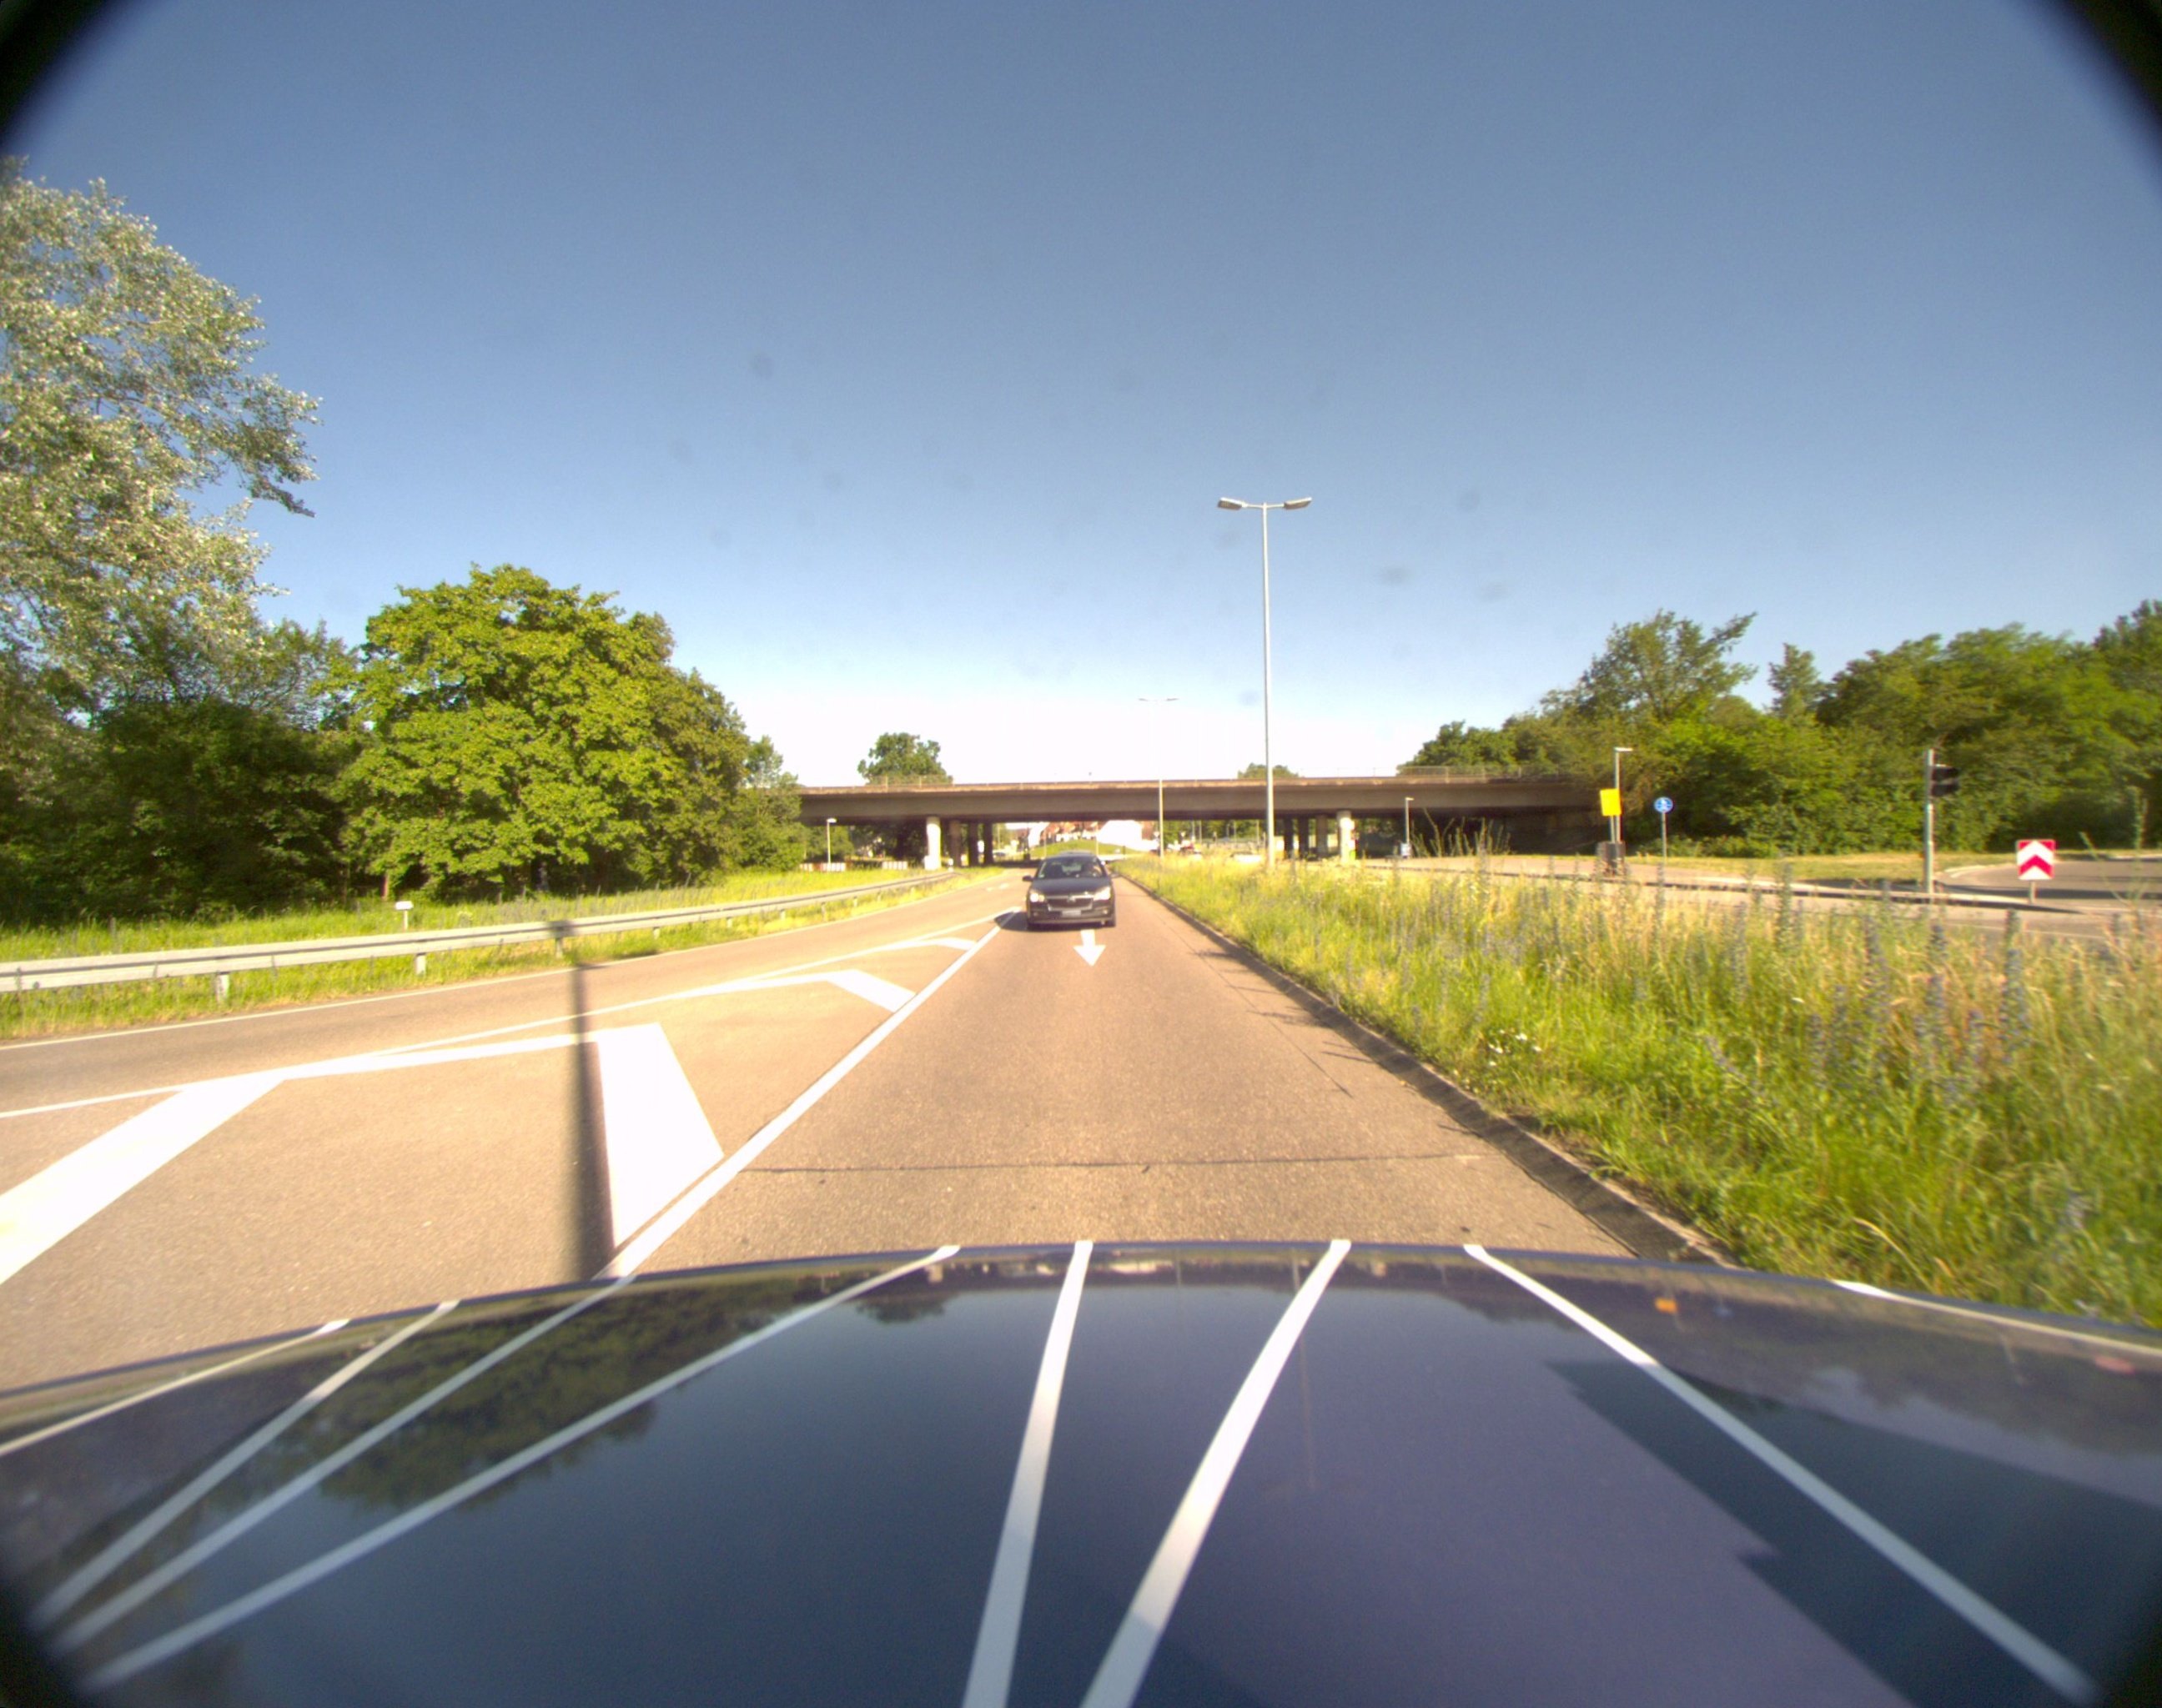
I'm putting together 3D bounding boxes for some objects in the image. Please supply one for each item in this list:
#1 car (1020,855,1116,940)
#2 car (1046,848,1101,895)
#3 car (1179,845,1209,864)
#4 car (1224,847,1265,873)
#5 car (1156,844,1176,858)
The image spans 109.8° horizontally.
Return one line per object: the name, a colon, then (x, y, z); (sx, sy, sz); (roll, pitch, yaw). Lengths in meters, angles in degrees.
car: (-0.201, 0.792, 15.826); (1.707, 1.447, 3.959); (-2, 1, 1)
car: (-0.222, 0.576, 27.965); (1.827, 1.528, 4.041); (-2, 1, 1)
car: (9.233, 0.027, 62.072); (1.637, 1.521, 3.591); (-1, 1, -4)
car: (9.764, 0.328, 45.699); (1.636, 1.436, 4.103); (-1, 1, 1)
car: (9.283, -0.339, 83.081); (1.637, 1.521, 3.591); (-1, 1, -3)
